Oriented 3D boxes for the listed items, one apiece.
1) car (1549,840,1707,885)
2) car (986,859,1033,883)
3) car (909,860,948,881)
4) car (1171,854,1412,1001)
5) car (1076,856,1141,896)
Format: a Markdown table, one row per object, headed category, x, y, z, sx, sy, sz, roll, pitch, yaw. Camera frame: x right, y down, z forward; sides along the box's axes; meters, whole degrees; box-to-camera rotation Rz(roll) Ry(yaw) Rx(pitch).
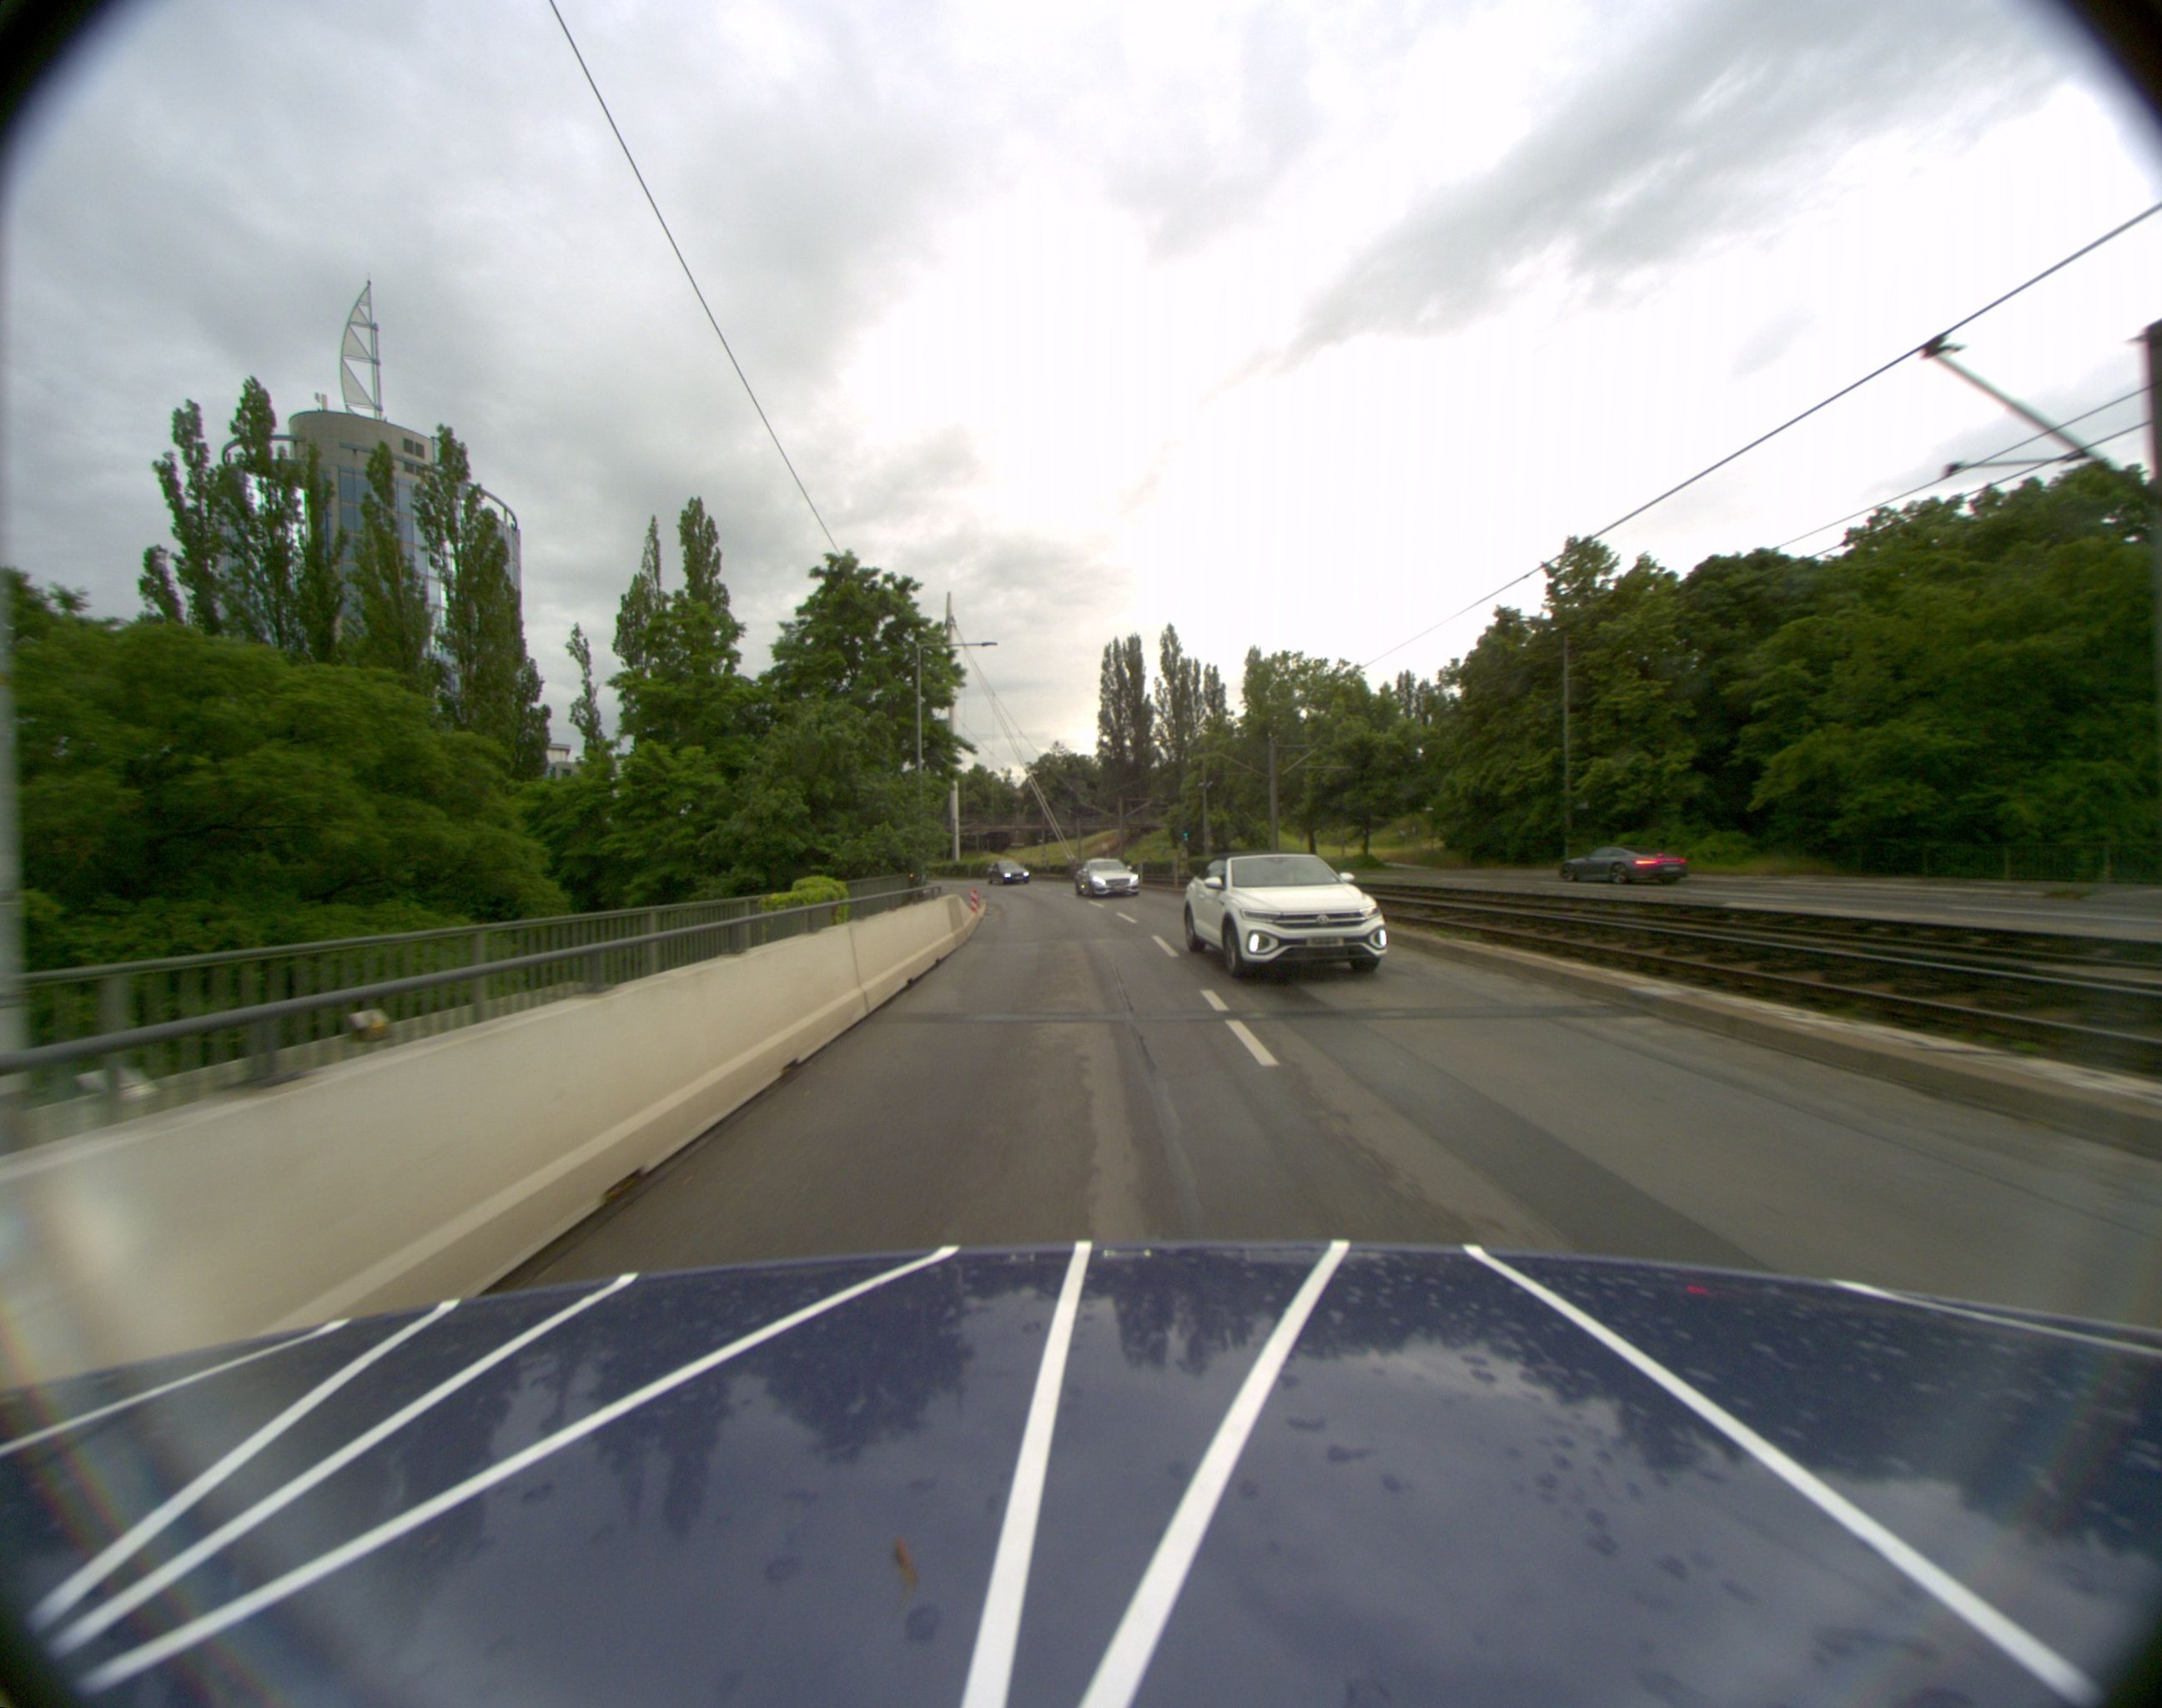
| category | x | y | z | sx | sy | sz | roll | pitch | yaw |
| --- | --- | --- | --- | --- | --- | --- | --- | --- | --- |
| car | 18.528 | 0.290 | 26.063 | 1.842 | 1.306 | 4.617 | -4 | 0 | -3 |
| car | -4.564 | 1.044 | 48.178 | 1.739 | 1.344 | 3.992 | -2 | 1 | -24 |
| car | -11.894 | 1.279 | 59.064 | 1.772 | 1.492 | 3.991 | -2 | 1 | -29 |
| car | 2.571 | 0.801 | 10.551 | 1.876 | 1.515 | 4.538 | -2 | 0 | -3 |
| car | 0.974 | 0.808 | 29.478 | 1.873 | 1.348 | 4.057 | -3 | 0 | -7 |
